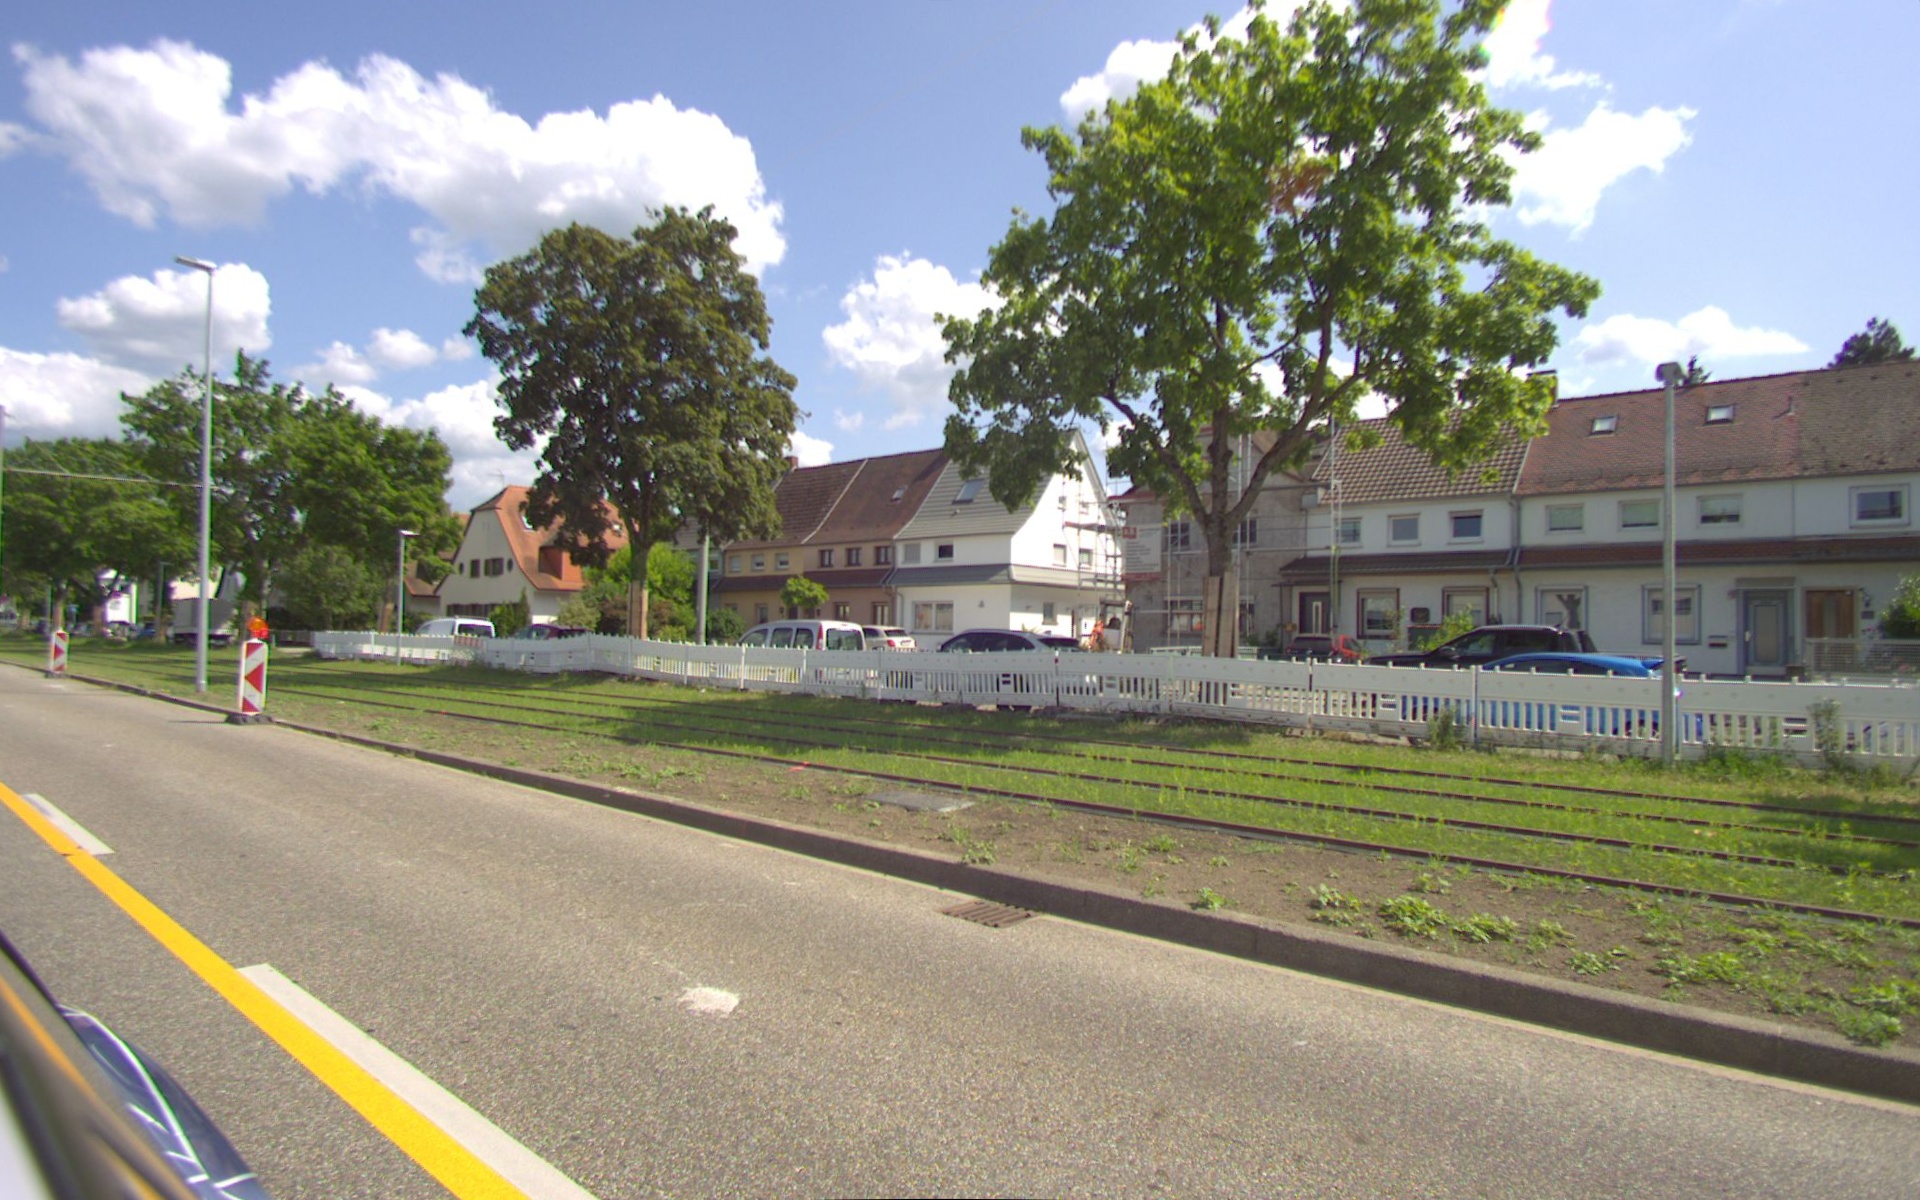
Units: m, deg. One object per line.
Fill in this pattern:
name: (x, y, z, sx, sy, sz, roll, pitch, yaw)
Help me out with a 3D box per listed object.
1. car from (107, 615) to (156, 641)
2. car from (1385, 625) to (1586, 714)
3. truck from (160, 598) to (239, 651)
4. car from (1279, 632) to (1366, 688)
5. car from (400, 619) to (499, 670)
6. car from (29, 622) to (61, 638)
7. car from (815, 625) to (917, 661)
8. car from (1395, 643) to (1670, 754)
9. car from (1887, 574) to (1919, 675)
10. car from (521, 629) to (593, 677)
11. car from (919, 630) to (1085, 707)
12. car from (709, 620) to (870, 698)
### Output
car: (-51.607, 1.708, 63.004, 3.928, 1.524, 1.651, 0, 0, 40)
car: (9.688, 1.234, 18.761, 3.091, 1.506, 1.342, -1, -3, 40)
truck: (-42.932, 1.321, 57.043, 5.947, 2.826, 2.341, 0, 0, 41)
car: (10.028, 1.605, 27.918, 1.285, 1.390, 2.776, 0, 0, 43)
car: (-18.011, 1.546, 35.641, 3.998, 1.638, 1.636, 0, -3, 40)
car: (-80.891, 2.666, 89.461, 3.997, 1.311, 1.616, 0, 0, 41)
car: (-3.712, 1.662, 39.483, 4.117, 1.285, 1.518, 0, -3, 40)
car: (7.886, 1.281, 14.046, 3.166, 1.335, 1.327, -1, -3, 38)
car: (21.207, 0.494, 20.092, 3.997, 2.029, 1.973, 0, 0, 40)
car: (-12.137, 1.575, 30.449, 2.449, 1.358, 1.060, -1, -3, 44)
car: (0.785, 1.317, 19.965, 3.112, 1.388, 1.336, -2, -4, 40)
car: (-4.093, 1.361, 24.052, 3.896, 1.664, 1.606, 0, -3, 40)
